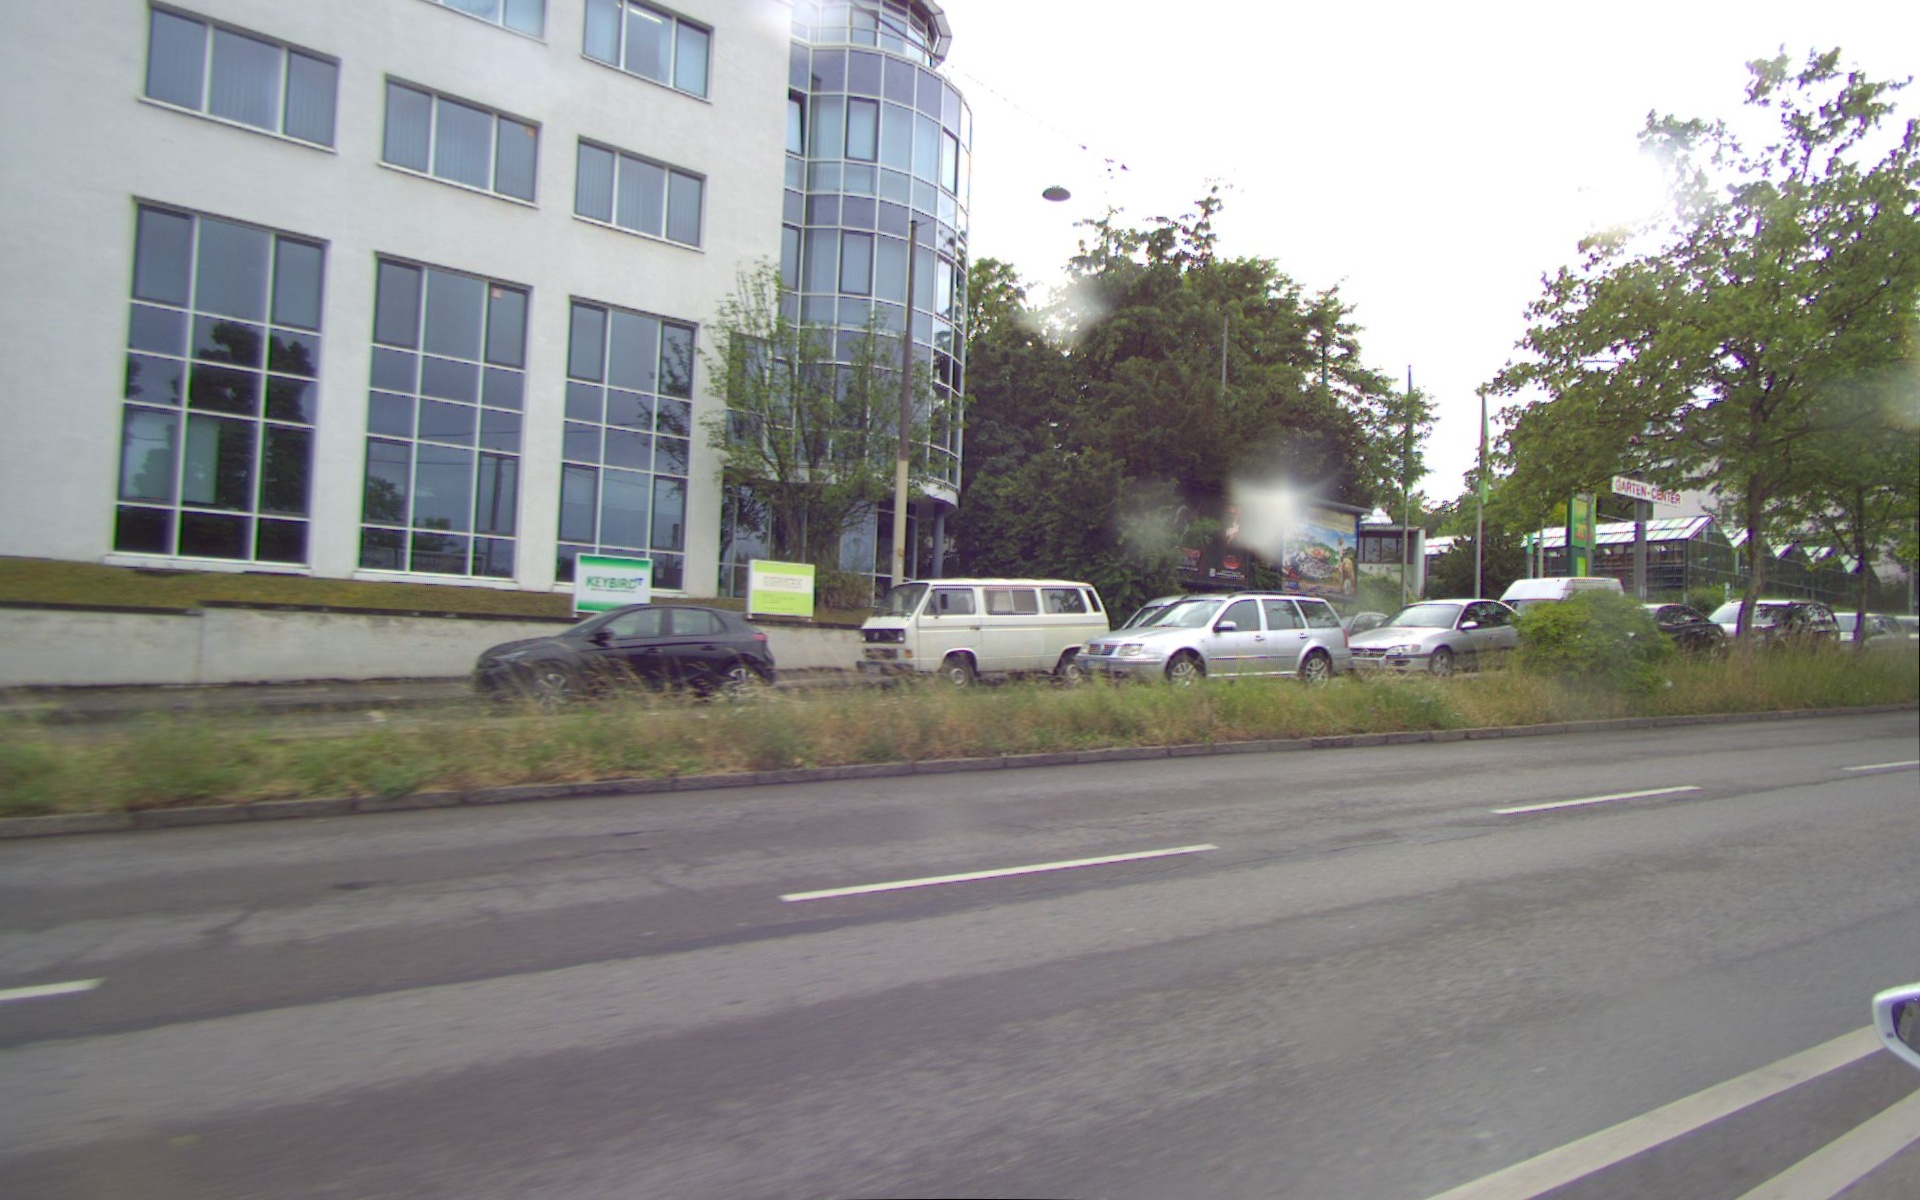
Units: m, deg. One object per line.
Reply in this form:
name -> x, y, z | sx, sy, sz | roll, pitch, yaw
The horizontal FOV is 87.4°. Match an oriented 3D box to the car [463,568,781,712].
car -> -4.639, 0.519, 13.945 | 3.949, 1.744, 1.602 | 0, -2, -32

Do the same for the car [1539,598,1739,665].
car -> 13.676, 0.632, 20.187 | 4.169, 1.221, 1.690 | 1, -2, -30

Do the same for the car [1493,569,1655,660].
car -> 18.262, 0.442, 29.794 | 5.597, 2.475, 1.951 | 0, -2, -34

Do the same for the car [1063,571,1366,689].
car -> 3.752, 0.417, 14.562 | 4.391, 1.497, 1.639 | 0, -2, -31

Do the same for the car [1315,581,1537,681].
car -> 8.108, 0.523, 17.404 | 3.947, 1.560, 1.583 | 0, -2, -32

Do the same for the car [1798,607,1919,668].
car -> 23.242, 0.994, 25.949 | 3.666, 1.413, 1.353 | 4, -3, -31

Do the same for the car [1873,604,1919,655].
car -> 27.952, 0.902, 28.657 | 4.492, 1.309, 1.530 | 4, -3, -30

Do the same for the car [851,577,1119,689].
car -> 0.499, 0.556, 17.774 | 4.532, 1.769, 1.761 | 0, -2, -32

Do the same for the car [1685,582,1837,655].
car -> 18.525, 0.467, 23.213 | 3.605, 1.471, 1.645 | 4, -3, -31

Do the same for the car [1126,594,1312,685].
car -> 5.380, 0.787, 20.779 | 3.738, 1.718, 1.584 | 0, -2, -32

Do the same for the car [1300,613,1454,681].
car -> 10.041, 1.156, 24.148 | 3.642, 1.475, 1.621 | 4, -3, -32
